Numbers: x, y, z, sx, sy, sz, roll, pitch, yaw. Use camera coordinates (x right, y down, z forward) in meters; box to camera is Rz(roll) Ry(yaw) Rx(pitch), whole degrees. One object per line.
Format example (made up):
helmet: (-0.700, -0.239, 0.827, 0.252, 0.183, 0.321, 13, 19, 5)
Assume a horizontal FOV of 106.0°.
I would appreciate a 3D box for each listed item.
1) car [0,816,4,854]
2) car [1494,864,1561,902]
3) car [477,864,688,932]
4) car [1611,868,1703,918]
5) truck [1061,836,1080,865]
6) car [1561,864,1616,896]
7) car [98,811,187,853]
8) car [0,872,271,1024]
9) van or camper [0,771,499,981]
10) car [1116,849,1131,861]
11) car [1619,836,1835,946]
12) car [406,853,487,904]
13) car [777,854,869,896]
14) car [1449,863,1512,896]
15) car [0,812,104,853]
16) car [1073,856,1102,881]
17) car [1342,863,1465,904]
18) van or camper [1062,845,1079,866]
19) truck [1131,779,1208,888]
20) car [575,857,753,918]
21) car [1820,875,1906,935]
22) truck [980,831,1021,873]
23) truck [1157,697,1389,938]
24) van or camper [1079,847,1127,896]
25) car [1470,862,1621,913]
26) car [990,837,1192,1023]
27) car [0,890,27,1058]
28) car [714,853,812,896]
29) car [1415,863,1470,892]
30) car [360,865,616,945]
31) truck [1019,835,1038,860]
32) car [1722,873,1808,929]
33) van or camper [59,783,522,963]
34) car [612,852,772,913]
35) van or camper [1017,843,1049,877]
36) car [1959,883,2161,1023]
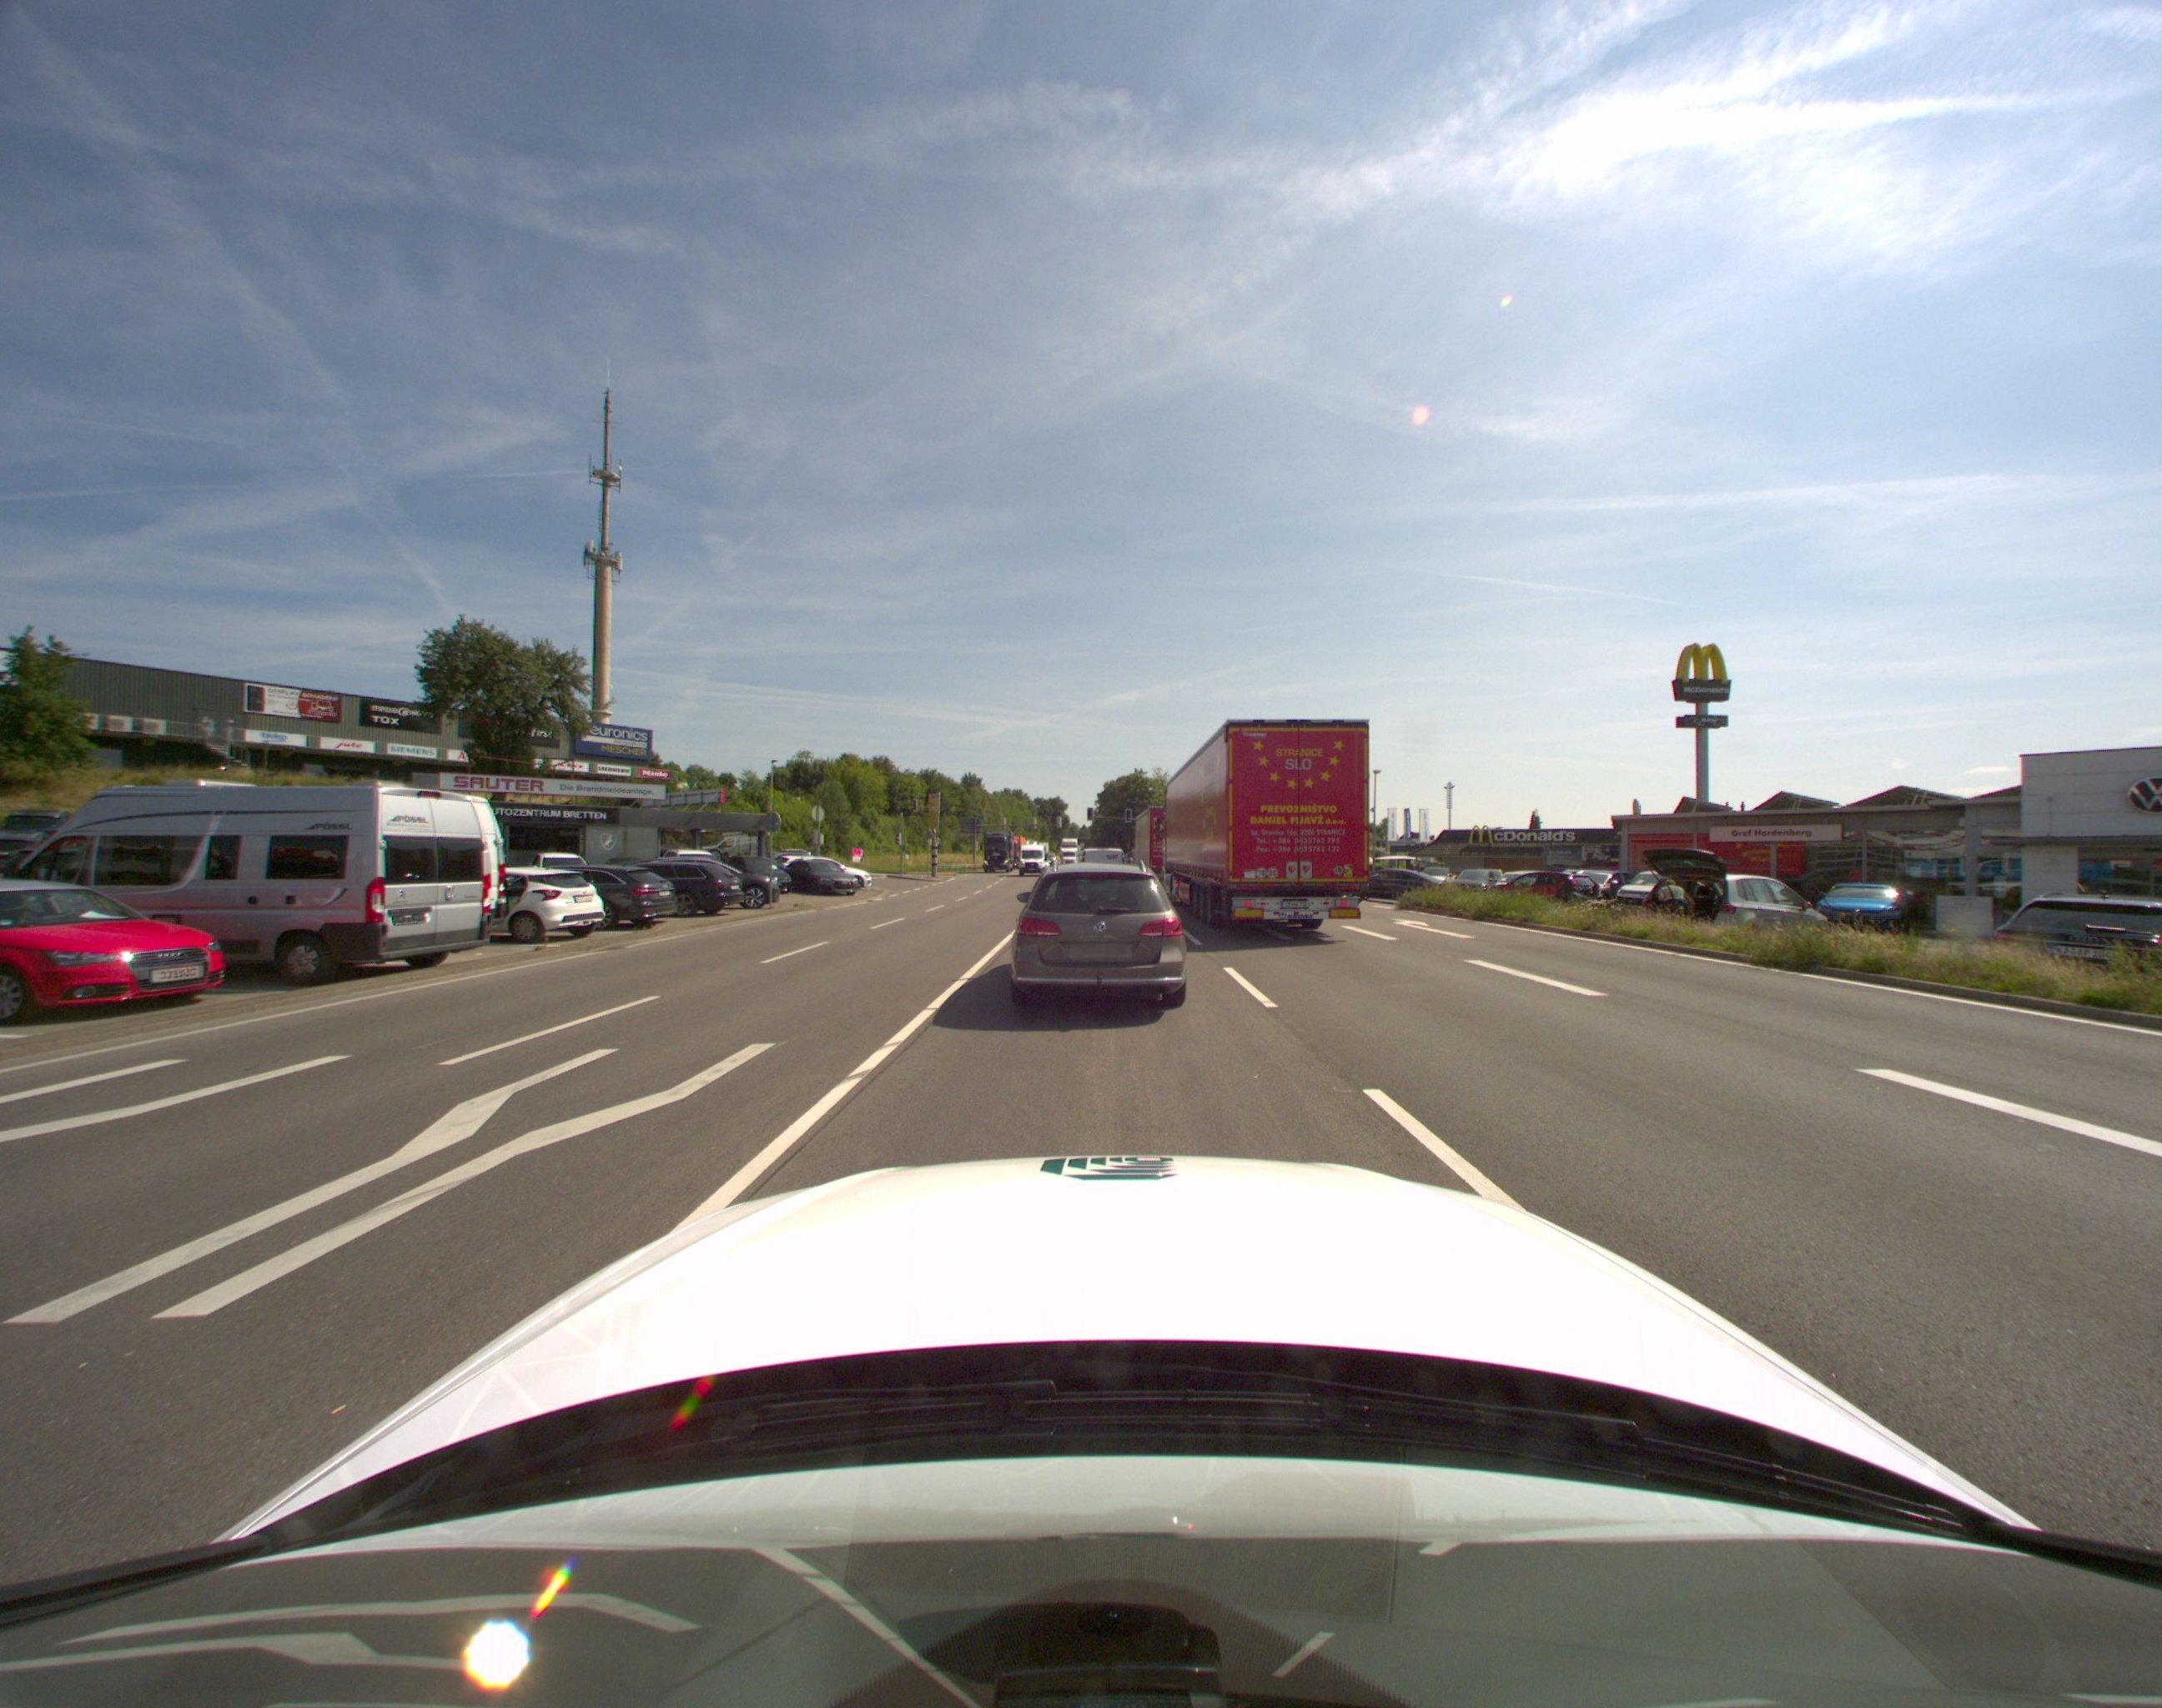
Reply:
car: (-41.684, -0.755, 29.903, 1.745, 1.450, 3.705, 1, -1, -40)
car: (19.828, 1.235, 36.084, 1.666, 1.531, 3.618, 0, 0, 45)
car: (-11.629, 0.991, 19.193, 3.804, 1.448, 1.842, -1, 0, 0)
car: (20.106, 1.292, 28.363, 1.975, 1.531, 4.023, 0, 0, 45)
truck: (-1.621, -0.472, 126.996, 2.544, 4.307, 7.597, -2, 0, 1)
car: (26.364, 1.321, 42.256, 1.666, 1.531, 3.618, 0, 0, 45)
car: (-38.116, -0.839, 33.171, 1.745, 1.537, 3.705, 1, -1, -40)
car: (-11.833, 1.003, 9.194, 3.580, 1.480, 1.813, -1, 0, 2)
van or camper: (-11.796, 0.299, 11.766, 5.224, 2.731, 2.212, 0, 0, 2)
car: (5.294, 0.140, 102.263, 1.721, 1.519, 3.312, 0, -1, 1)
car: (12.506, 0.644, 15.770, 3.851, 1.921, 1.689, 0, 0, -24)
car: (-21.741, 0.802, 28.051, 1.775, 1.588, 3.790, -1, 0, -32)
car: (-11.314, 0.894, 35.579, 2.143, 1.693, 4.473, -1, 0, -42)
car: (19.872, 1.240, 40.410, 1.747, 1.531, 3.651, 0, 0, 45)
car: (-39.724, -0.778, 31.528, 1.745, 1.450, 3.705, 1, -1, -40)
car: (0.435, 0.903, 51.420, 1.720, 1.519, 3.313, 0, -1, 2)
car: (12.651, 1.117, 32.091, 4.148, 1.455, 1.858, 0, 0, 44)
van or camper: (-1.431, 0.262, 112.158, 2.216, 2.841, 5.712, 0, -1, 1)
truck: (4.737, -0.967, 47.554, 3.051, 5.220, 17.011, 0, 0, 1)
car: (-11.177, 0.869, 22.030, 3.804, 1.539, 1.842, -1, 0, 0)
car: (23.320, 1.448, 24.241, 3.808, 1.557, 1.682, 0, 0, -44)
truck: (-7.785, -0.180, 79.184, 2.801, 3.786, 6.995, -2, 0, 3)
truck: (4.175, -0.635, 22.713, 2.946, 4.270, 16.588, 0, 0, 1)
van or camper: (0.868, 0.669, 33.298, 1.846, 1.906, 3.785, 0, 0, 1)
car: (15.510, 1.063, 27.399, 2.005, 1.531, 3.964, 0, 0, -27)
car: (0.228, 0.695, 9.047, 1.782, 1.638, 3.508, -1, 0, 4)
car: (-11.429, 0.974, 6.483, 3.696, 1.484, 1.707, 3, 0, -1)
car: (-13.366, 0.832, 34.208, 3.780, 1.693, 1.854, -1, 0, 30)
car: (20.264, 1.304, 45.633, 1.743, 1.531, 3.284, 0, 0, 45)
car: (-11.924, 0.999, 16.572, 3.804, 1.448, 1.842, -1, 0, 0)
truck: (-8.051, -0.972, 125.458, 2.527, 3.786, 6.983, -2, 0, -3)
car: (21.921, 1.437, 26.042, 1.781, 1.531, 4.251, 0, 0, 45)
van or camper: (-13.542, 0.305, 14.271, 5.871, 2.873, 2.290, 0, 0, 1)
car: (-11.447, 0.806, 24.132, 3.804, 1.675, 1.842, -1, 0, 0)
van or camper: (-3.715, 0.473, 64.045, 2.166, 2.551, 4.171, 0, 0, 1)
car: (13.179, 1.105, 10.071, 3.843, 1.399, 1.692, 0, 0, -18)
